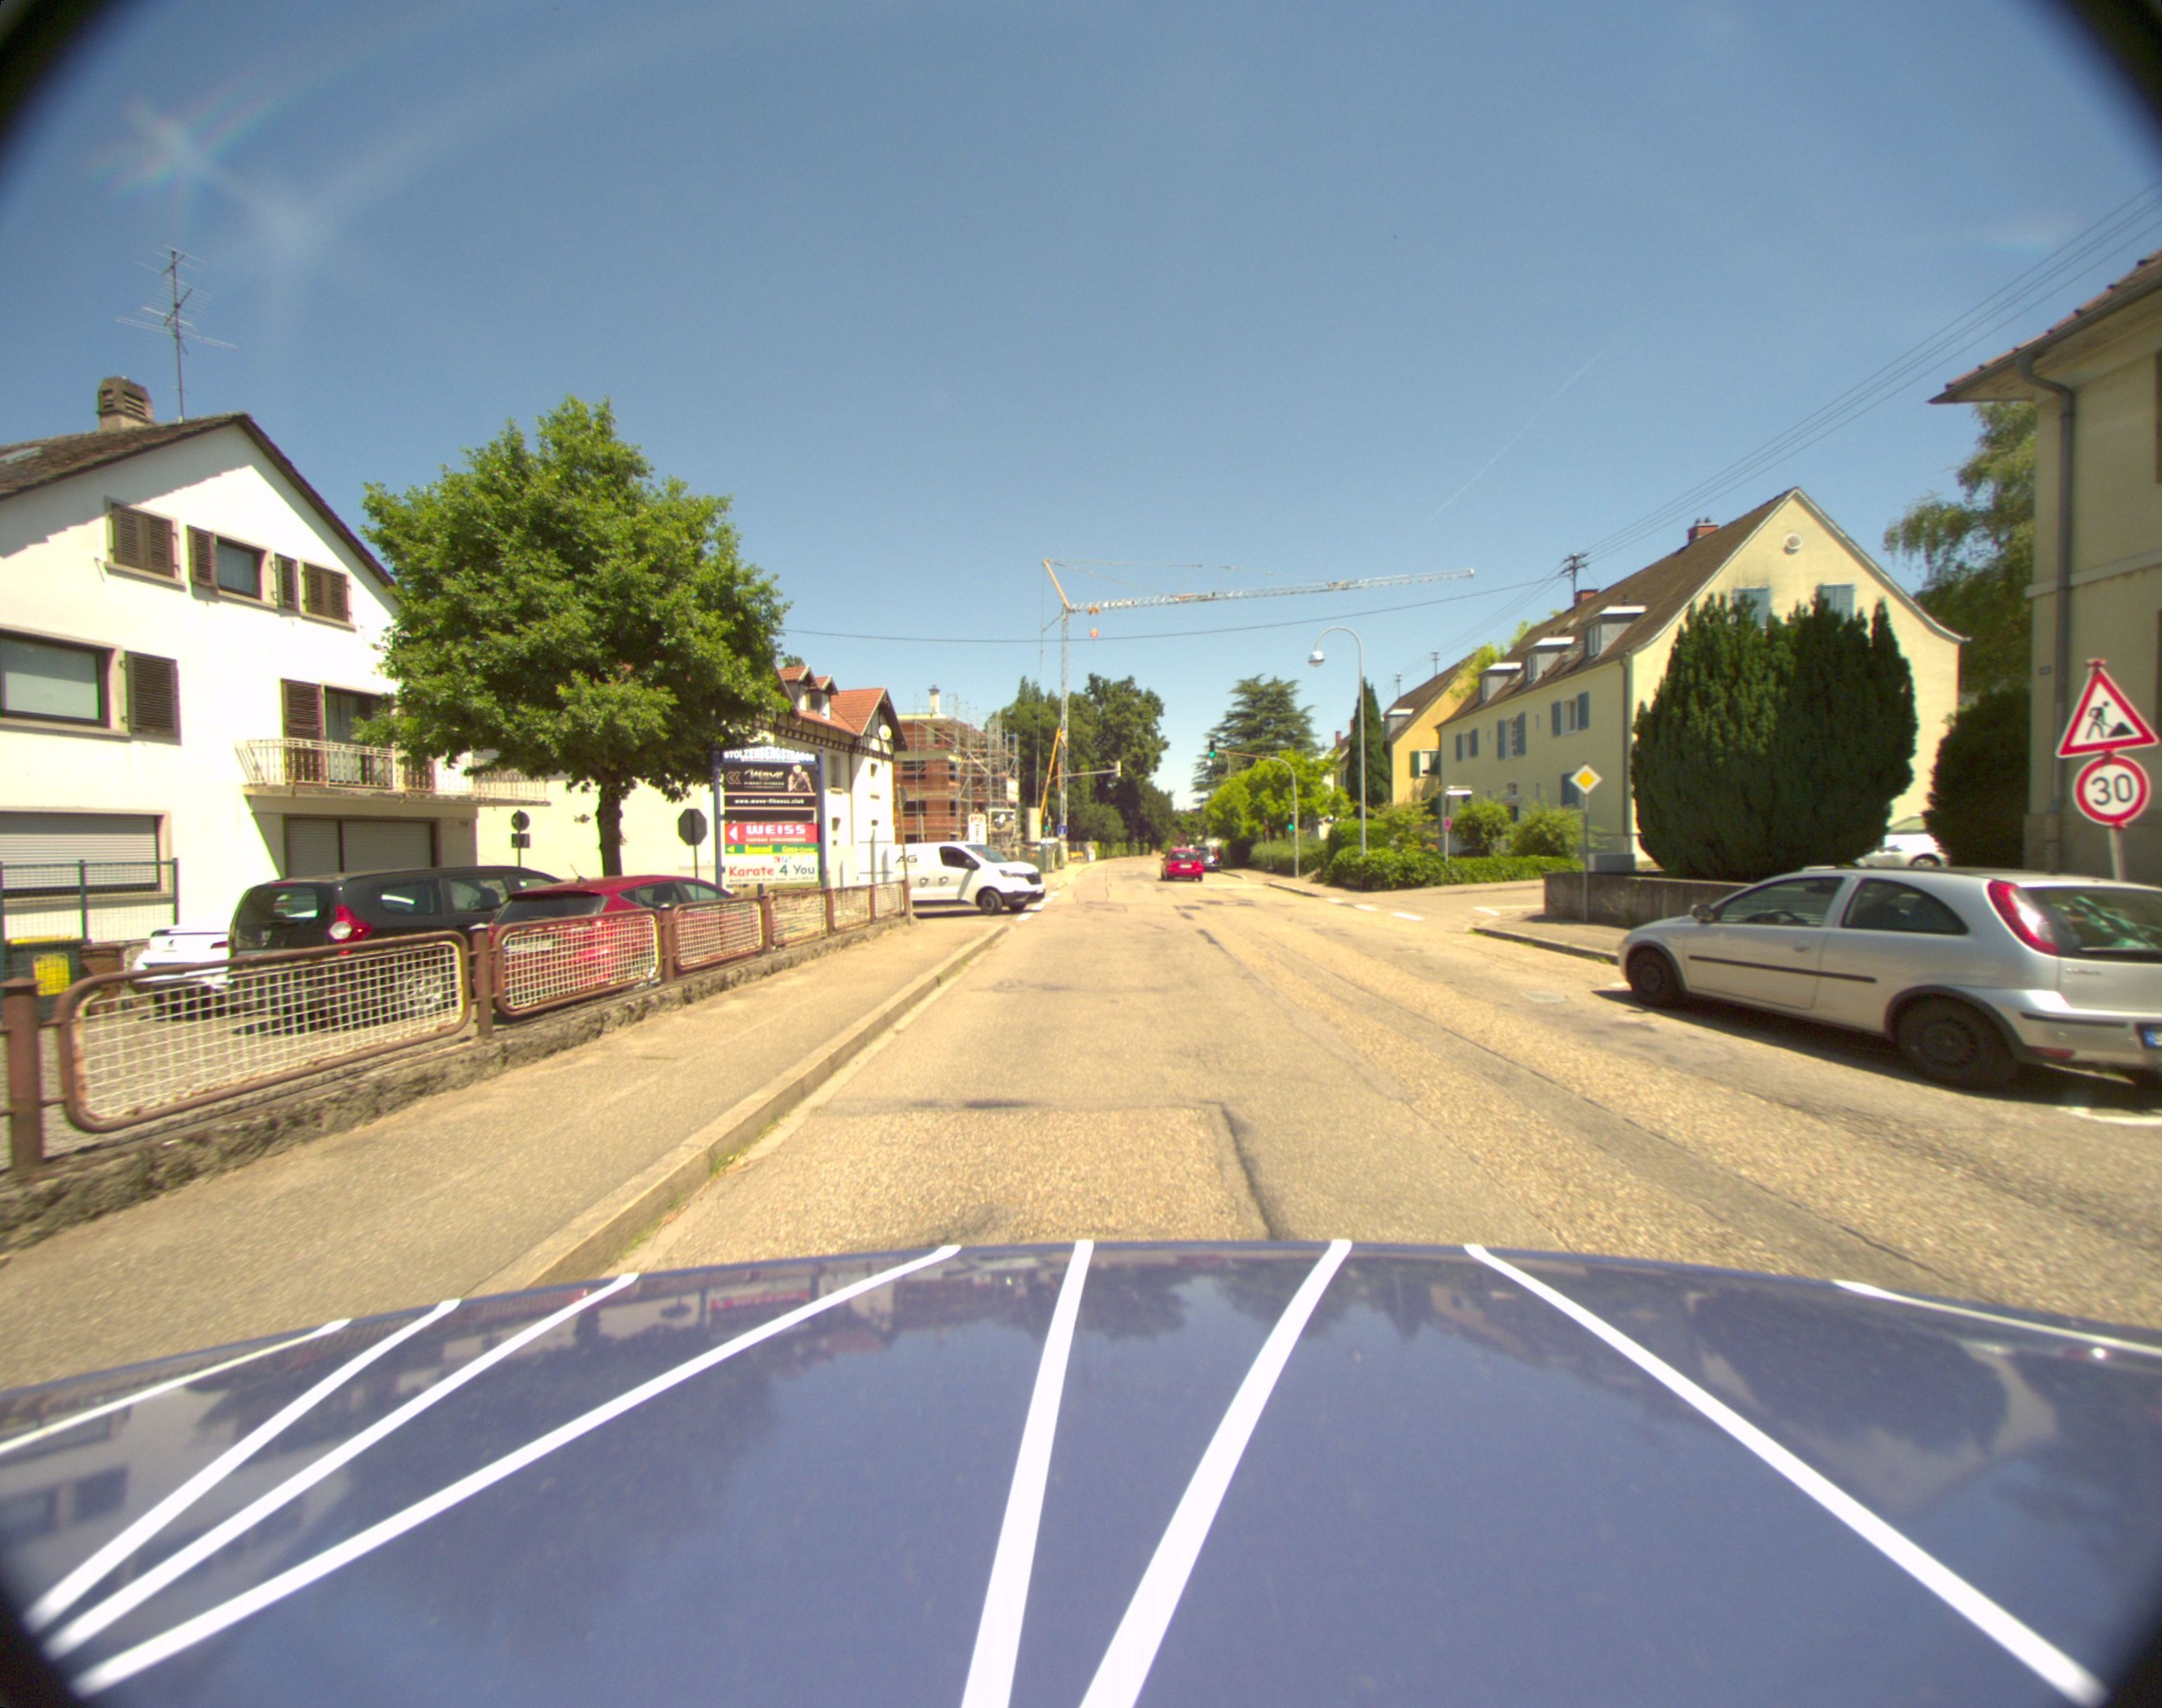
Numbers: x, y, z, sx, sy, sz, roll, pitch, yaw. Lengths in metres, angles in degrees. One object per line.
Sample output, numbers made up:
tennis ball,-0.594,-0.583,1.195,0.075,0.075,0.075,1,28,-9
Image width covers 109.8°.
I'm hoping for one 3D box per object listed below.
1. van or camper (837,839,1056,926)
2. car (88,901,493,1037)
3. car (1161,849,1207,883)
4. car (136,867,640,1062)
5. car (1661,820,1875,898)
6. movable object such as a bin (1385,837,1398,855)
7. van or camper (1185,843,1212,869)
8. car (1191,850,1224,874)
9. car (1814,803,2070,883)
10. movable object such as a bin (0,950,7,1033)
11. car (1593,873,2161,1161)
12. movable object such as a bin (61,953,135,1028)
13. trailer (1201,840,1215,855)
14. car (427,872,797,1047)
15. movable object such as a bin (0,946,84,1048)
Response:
van or camper,-3.582,0.751,20.395,5.351,1.968,2.002,-3,3,17
car,-10.253,1.408,10.263,1.715,1.263,3.386,-1,1,7
car,4.985,0.547,37.304,1.819,1.557,3.696,0,1,1
car,-7.896,1.106,9.420,1.715,1.656,4.462,-3,1,8
car,15.719,0.085,17.550,3.208,1.448,1.735,-5,2,8
movable object such as a bin,20.592,-0.506,50.469,0.622,1.190,0.674,-1,1,5
van or camper,8.473,0.123,55.158,1.684,1.794,3.986,1,1,5
car,8.268,0.488,49.903,1.685,1.404,3.926,1,1,3
car,19.650,-0.261,17.505,3.588,1.448,1.749,-5,2,8
movable object such as a bin,-12.759,1.599,8.652,0.452,0.964,0.416,-1,1,9
car,6.383,0.961,6.169,1.764,1.439,3.923,1,1,0
movable object such as a bin,-12.041,1.660,9.314,0.397,0.849,0.386,-1,1,9
trailer,18.281,-0.975,109.397,1.817,2.022,4.003,2,1,12
car,-5.268,1.060,9.246,1.715,1.515,3.841,-1,1,9
movable object such as a bin,-12.052,1.607,8.660,0.491,1.041,0.640,-1,1,9
